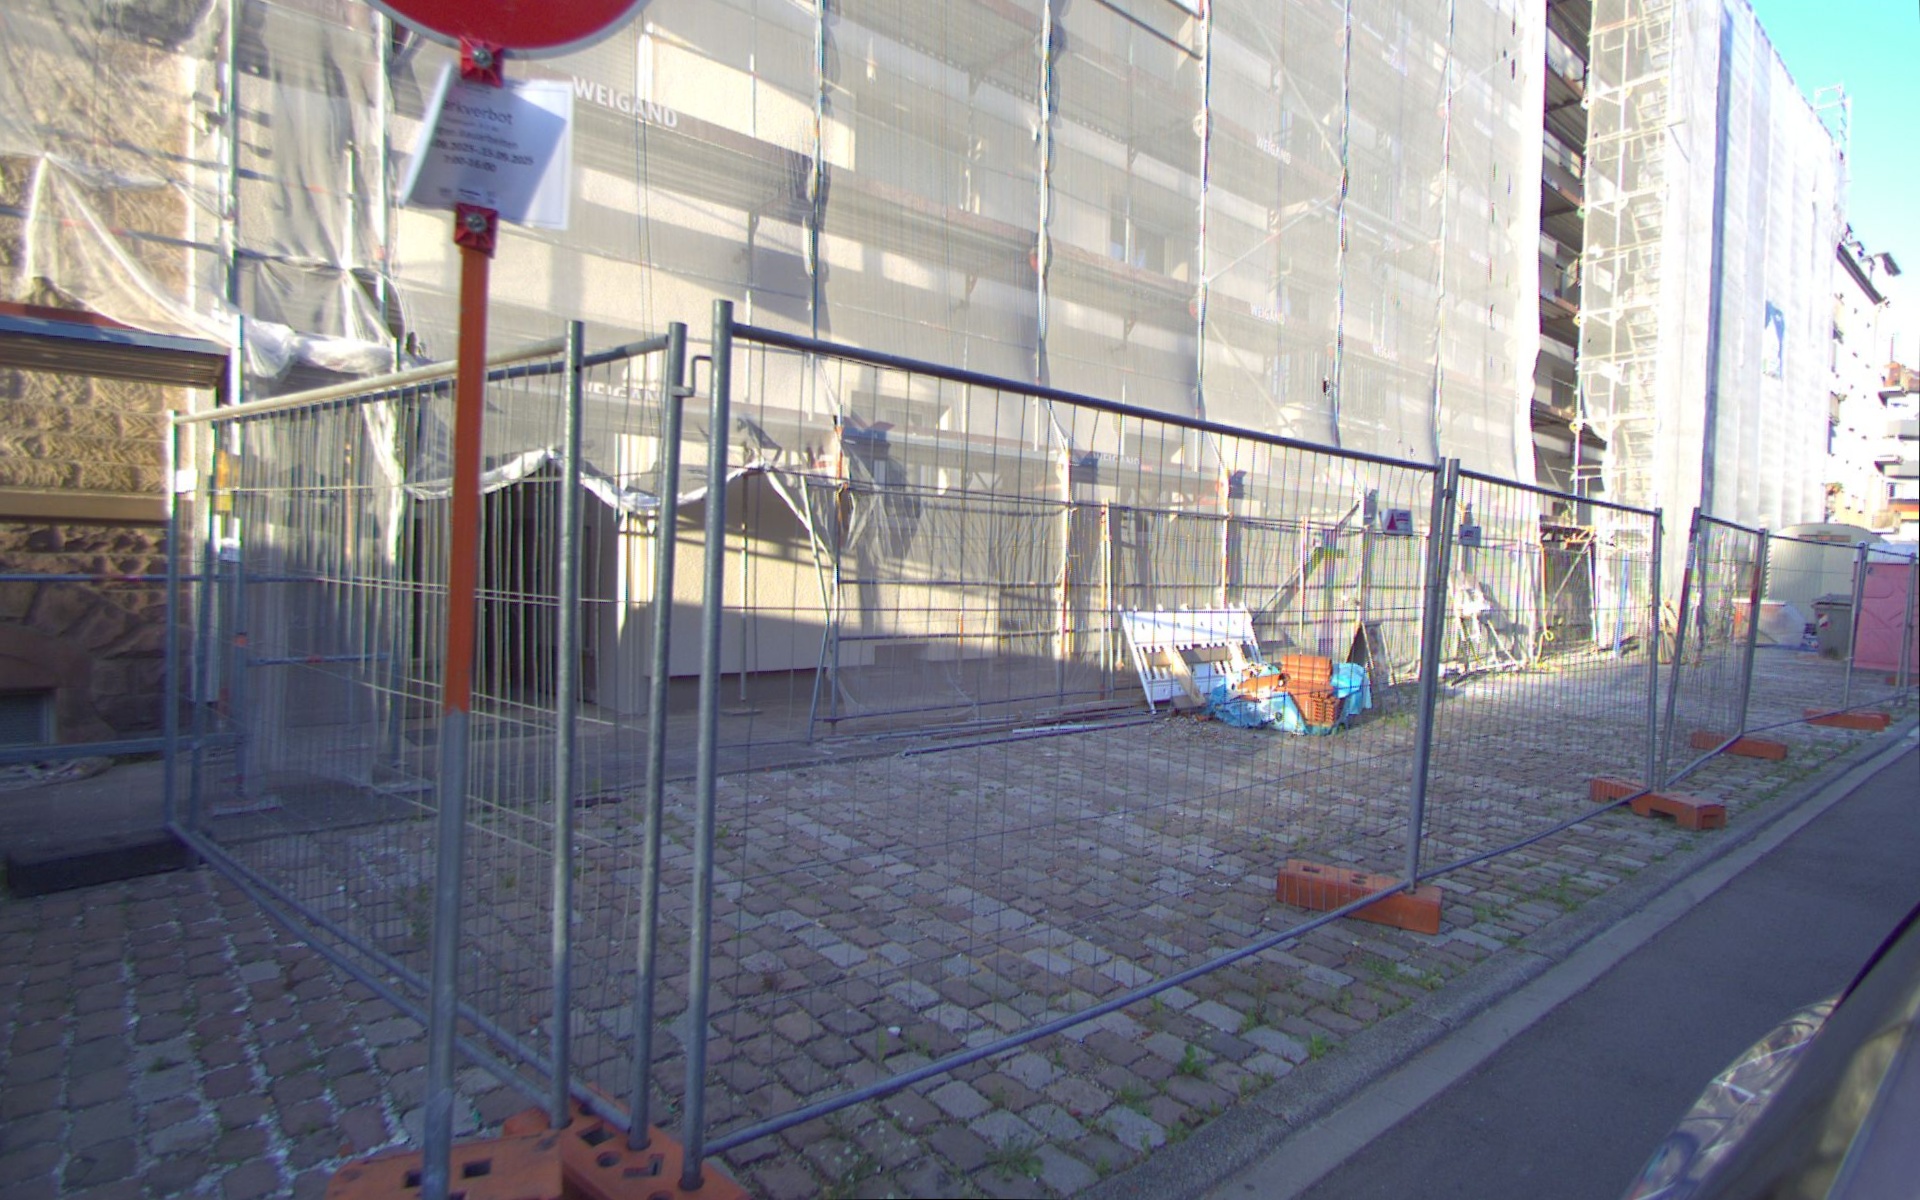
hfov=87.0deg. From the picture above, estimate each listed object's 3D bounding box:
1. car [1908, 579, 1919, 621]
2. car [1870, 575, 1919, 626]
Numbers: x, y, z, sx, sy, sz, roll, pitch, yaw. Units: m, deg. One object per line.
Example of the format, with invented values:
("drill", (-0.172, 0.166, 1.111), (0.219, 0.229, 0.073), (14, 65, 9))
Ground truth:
("car", (40.023, 0.052, 39.727), (1.871, 1.658, 3.992), (0, 2, -43))
("car", (32.750, 0.046, 33.119), (1.838, 1.635, 4.164), (0, 2, -38))
